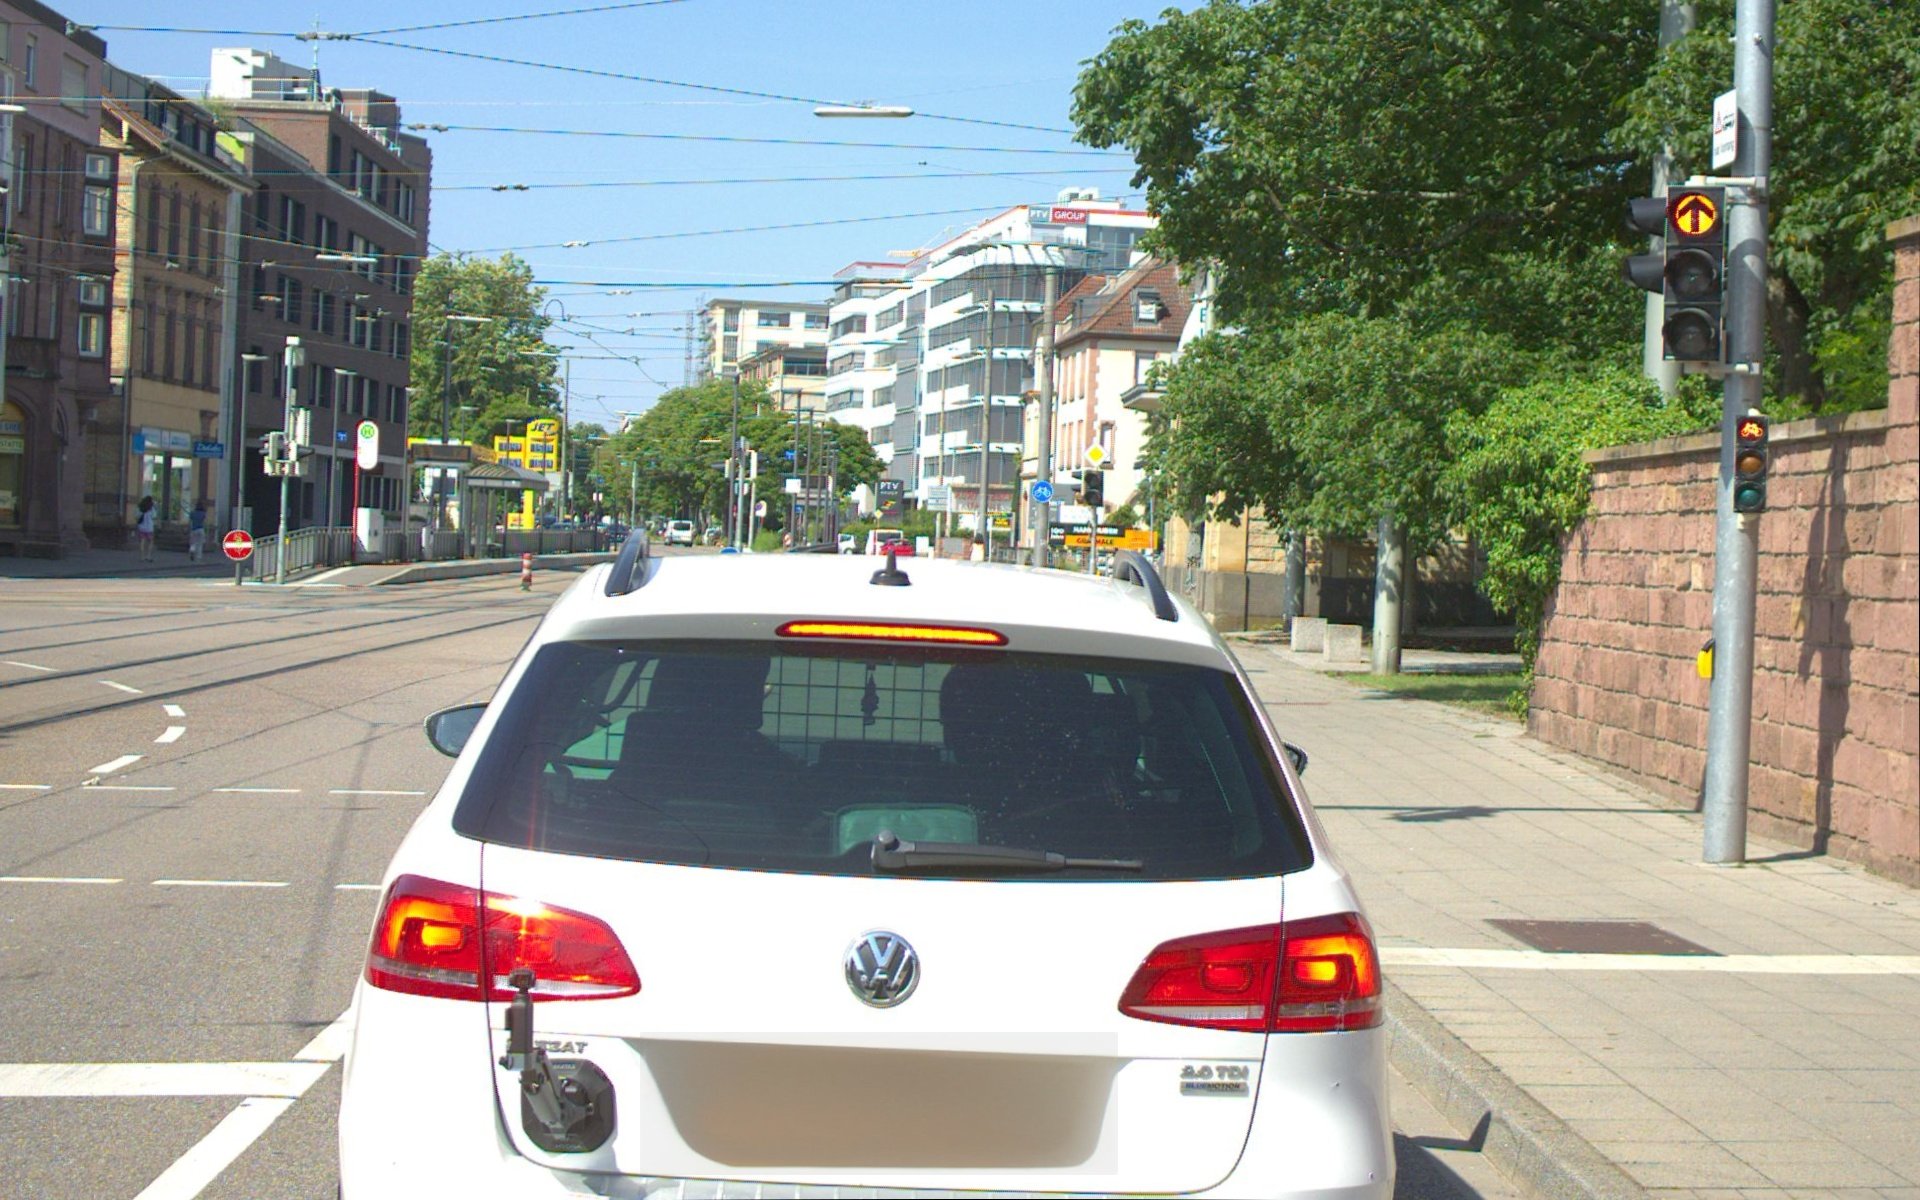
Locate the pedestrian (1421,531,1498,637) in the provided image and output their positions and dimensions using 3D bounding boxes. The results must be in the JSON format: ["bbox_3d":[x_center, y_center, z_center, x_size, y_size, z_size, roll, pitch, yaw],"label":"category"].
[{"bbox_3d":[8.326,-0.267,57.294,0.861,1.737,0.975,0,0,-25],"label":"pedestrian"}]

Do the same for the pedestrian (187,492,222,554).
[{"bbox_3d":[-21.635,-2.199,98.482,0.861,1.737,0.975,0,0,-6],"label":"pedestrian"}]

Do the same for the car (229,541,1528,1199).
[{"bbox_3d":[-0.151,0.638,6.852,1.808,1.443,4.000,2,1,-1],"label":"car"}]

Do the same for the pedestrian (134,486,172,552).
[{"bbox_3d":[-21.692,-2.177,92.380,0.861,1.737,0.975,0,0,-6],"label":"pedestrian"}]

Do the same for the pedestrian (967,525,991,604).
[{"bbox_3d":[0.561,-1.056,102.724,0.690,2.317,1.232,0,0,1],"label":"pedestrian"}]
